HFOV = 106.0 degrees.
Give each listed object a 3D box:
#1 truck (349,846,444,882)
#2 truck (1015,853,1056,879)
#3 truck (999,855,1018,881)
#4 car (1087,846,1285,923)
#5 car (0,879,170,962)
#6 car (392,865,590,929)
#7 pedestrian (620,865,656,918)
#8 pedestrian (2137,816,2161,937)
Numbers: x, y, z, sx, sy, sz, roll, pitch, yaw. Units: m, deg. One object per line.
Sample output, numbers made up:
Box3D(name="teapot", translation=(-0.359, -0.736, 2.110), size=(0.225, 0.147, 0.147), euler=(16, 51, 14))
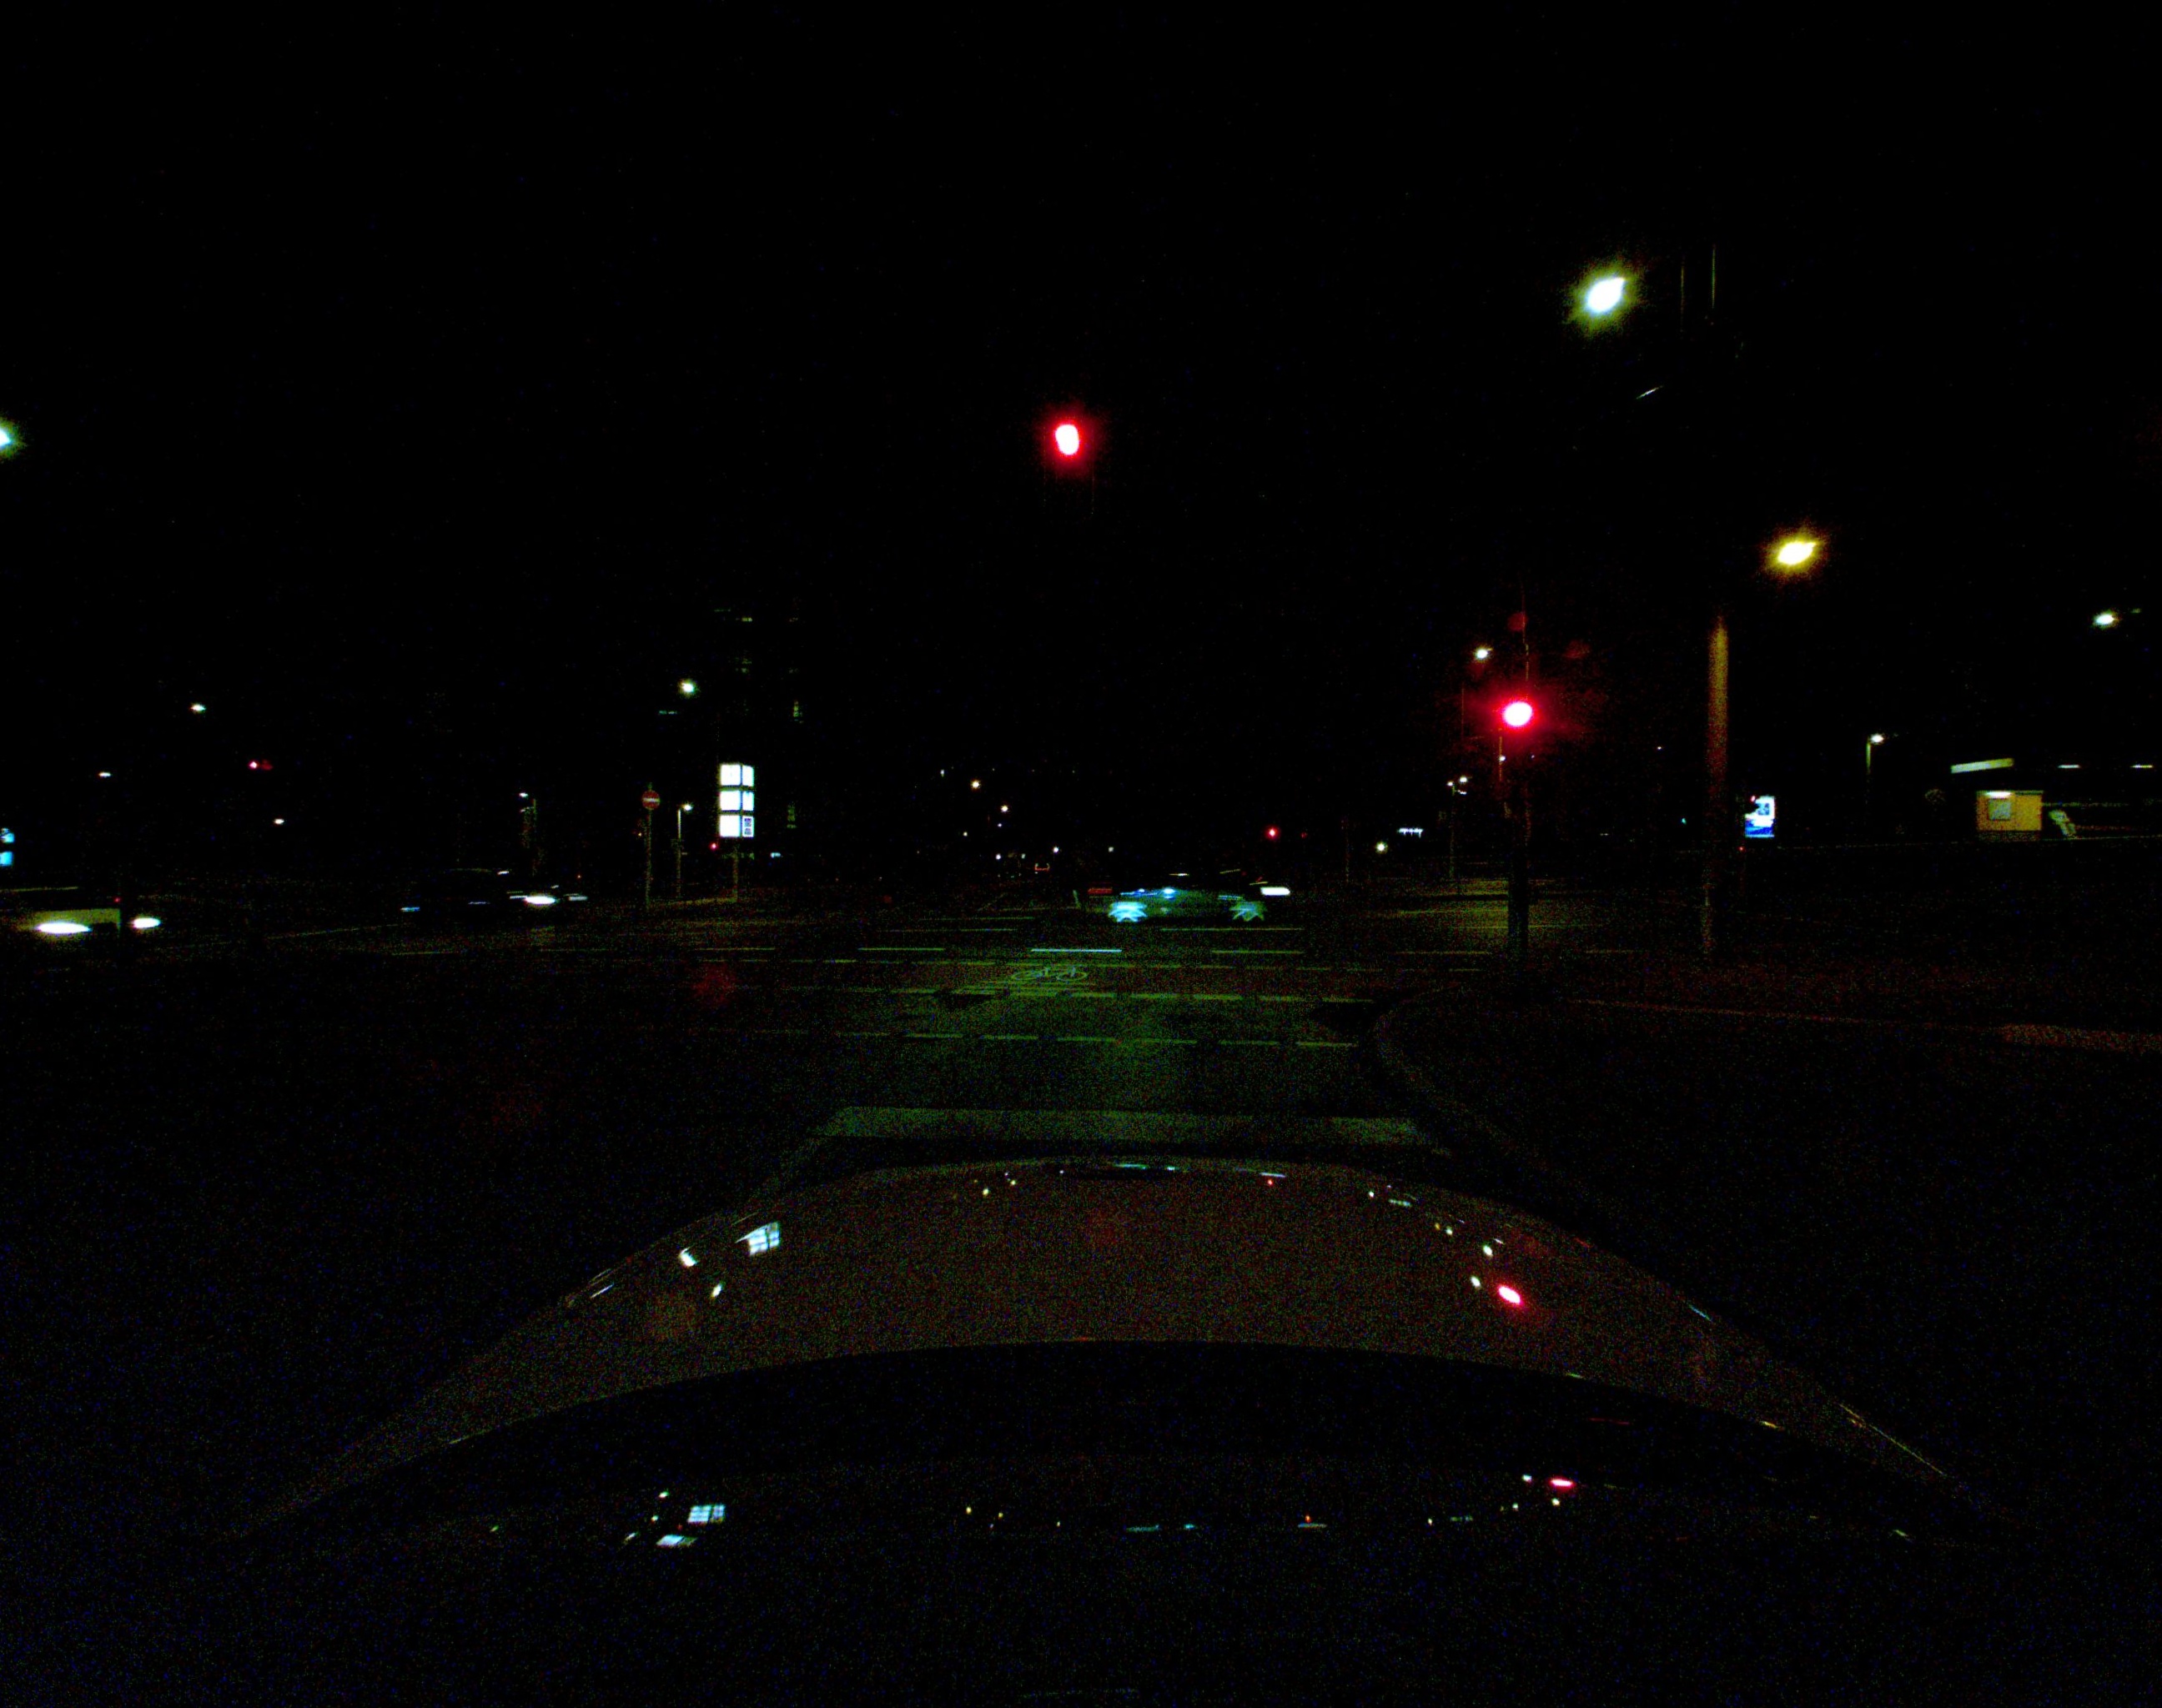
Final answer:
Box3D(name="truck", translation=(-59.825, 0.878, 71.245), size=(5.873, 3.088, 2.915), euler=(0, -1, 3))
Box3D(name="truck", translation=(-8.557, 2.232, 151.642), size=(4.835, 4.547, 12.591), euler=(0, -1, -17))
Box3D(name="truck", translation=(-10.614, 1.963, 119.499), size=(2.580, 3.707, 5.723), euler=(0, -1, -7))
Box3D(name="car", translation=(2.366, 0.682, 18.832), size=(4.323, 1.651, 1.812), euler=(-1, 0, 4))
Box3D(name="car", translation=(-23.101, 1.468, 18.075), size=(3.967, 1.662, 1.813), euler=(-2, -1, 6))
Box3D(name="car", translation=(-16.887, 1.211, 23.434), size=(4.424, 1.659, 1.867), euler=(-1, -1, 5))
Box3D(name="pedestrian", translation=(-13.934, 1.164, 25.624), size=(0.667, 1.634, 0.862), euler=(0, -1, -3))
Box3D(name="pedestrian", translation=(15.847, 0.302, 11.461), size=(0.752, 1.745, 0.834), euler=(-3, -2, 1))
